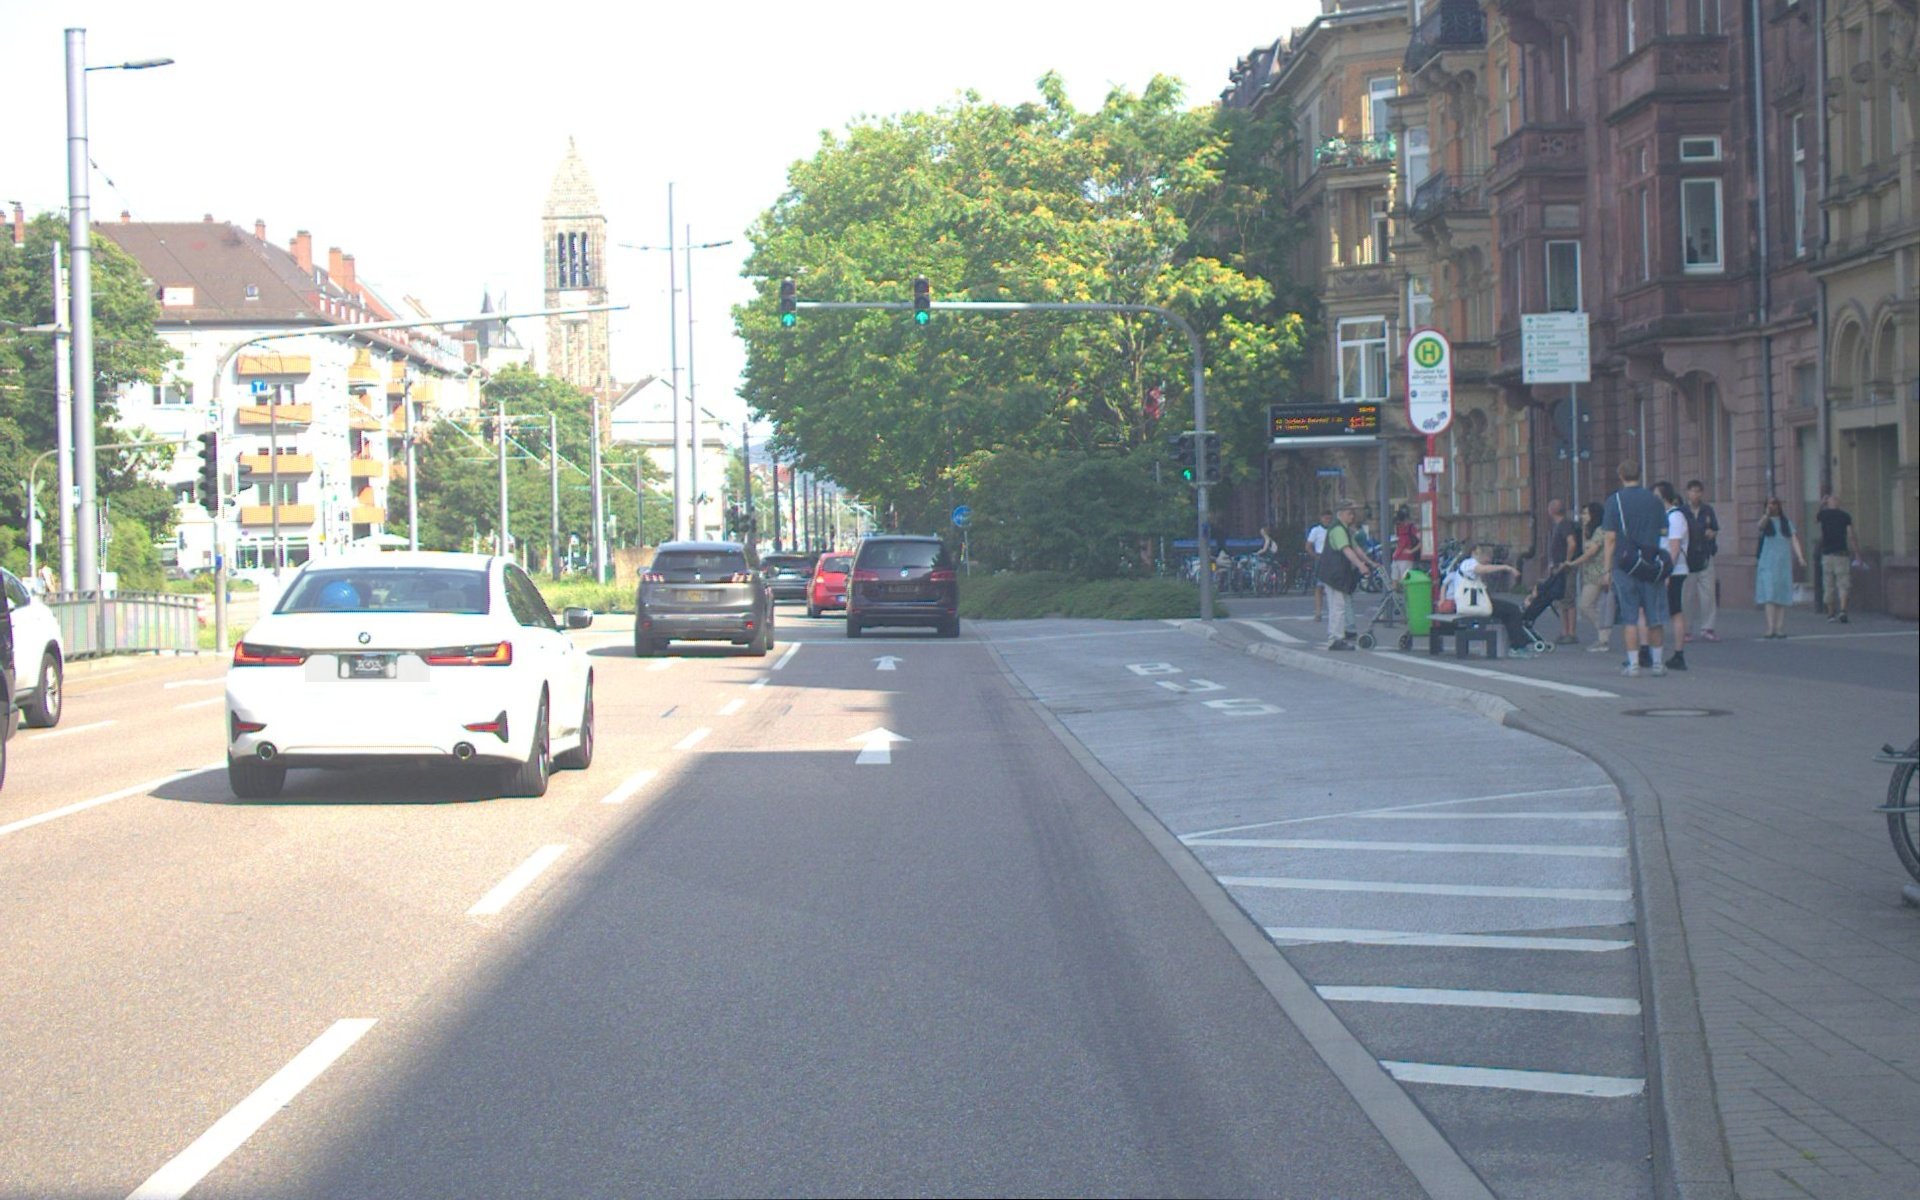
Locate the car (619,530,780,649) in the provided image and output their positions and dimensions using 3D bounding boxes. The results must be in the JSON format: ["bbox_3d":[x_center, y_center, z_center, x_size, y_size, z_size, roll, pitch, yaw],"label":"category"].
[{"bbox_3d":[-3.673,-0.189,49.162,1.993,1.615,4.357,0,1,0],"label":"car"}]

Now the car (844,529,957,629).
[{"bbox_3d":[-0.972,-0.385,57.556,1.831,1.615,4.357,0,1,0],"label":"car"}]

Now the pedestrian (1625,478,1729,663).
[{"bbox_3d":[6.807,-0.285,32.661,0.749,1.723,0.801,-1,1,-4],"label":"pedestrian"}]

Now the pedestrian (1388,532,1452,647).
[{"bbox_3d":[5.173,-0.122,38.677,0.565,1.273,0.597,-1,1,-4],"label":"pedestrian"}]

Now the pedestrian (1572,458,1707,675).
[{"bbox_3d":[5.862,-0.292,29.696,0.925,1.825,0.801,-1,1,-4],"label":"pedestrian"}]

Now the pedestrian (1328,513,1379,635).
[{"bbox_3d":[5.278,-0.353,46.146,0.528,1.606,0.703,-1,1,-4],"label":"pedestrian"}]

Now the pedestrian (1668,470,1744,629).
[{"bbox_3d":[8.592,-0.585,39.619,0.617,1.798,1.071,-1,1,0],"label":"pedestrian"}]

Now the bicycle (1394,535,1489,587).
[{"bbox_3d":[10.333,-0.839,73.798,1.927,1.044,0.500,-2,1,-6],"label":"bicycle"}]

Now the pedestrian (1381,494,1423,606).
[{"bbox_3d":[6.776,-0.772,52.722,0.481,1.696,0.703,-1,1,-4],"label":"pedestrian"}]

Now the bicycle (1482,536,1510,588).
[{"bbox_3d":[11.116,-0.797,71.343,0.416,1.044,1.670,-1,1,5],"label":"bicycle"}]

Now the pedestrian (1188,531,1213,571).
[{"bbox_3d":[6.596,-1.347,94.267,0.443,1.067,0.487,-2,1,-31],"label":"pedestrian"}]

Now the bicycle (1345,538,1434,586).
[{"bbox_3d":[9.792,-0.869,78.438,1.927,1.044,0.527,-2,1,-6],"label":"bicycle"}]

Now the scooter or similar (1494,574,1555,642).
[{"bbox_3d":[6.326,0.085,38.527,0.565,0.739,0.514,-1,1,-4],"label":"scooter or similar"}]

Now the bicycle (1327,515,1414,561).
[{"bbox_3d":[9.672,-1.460,80.985,1.927,1.044,0.527,-2,1,-6],"label":"bicycle"}]

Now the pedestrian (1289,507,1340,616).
[{"bbox_3d":[5.487,-0.605,53.192,0.690,1.658,0.619,-1,1,0],"label":"pedestrian"}]

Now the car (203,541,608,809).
[{"bbox_3d":[-3.309,0.374,21.397,1.809,1.422,4.775,1,1,-1],"label":"car"}]

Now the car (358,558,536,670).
[{"bbox_3d":[-6.817,0.151,46.098,1.713,1.326,4.521,-3,1,-1],"label":"car"}]

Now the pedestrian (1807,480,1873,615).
[{"bbox_3d":[11.328,-0.674,44.265,0.629,1.713,0.691,-1,1,-1],"label":"pedestrian"}]

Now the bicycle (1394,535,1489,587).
[{"bbox_3d":[10.227,-0.828,73.038,1.927,1.044,0.500,-2,1,-6],"label":"bicycle"}]

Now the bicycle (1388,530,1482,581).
[{"bbox_3d":[10.277,-0.961,74.366,1.927,1.044,0.500,-2,1,-6],"label":"bicycle"}]

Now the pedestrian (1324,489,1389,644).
[{"bbox_3d":[4.467,-0.380,38.745,0.565,1.723,0.745,-1,1,-4],"label":"pedestrian"}]

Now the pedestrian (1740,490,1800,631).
[{"bbox_3d":[9.396,-0.463,39.898,0.486,1.605,0.813,-1,1,0],"label":"pedestrian"}]

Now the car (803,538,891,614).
[{"bbox_3d":[-2.494,-0.555,76.735,1.831,1.615,4.357,0,1,0],"label":"car"}]

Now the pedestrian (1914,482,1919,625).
[{"bbox_3d":[11.436,-0.543,39.719,0.603,1.649,0.587,-1,1,-4],"label":"pedestrian"}]

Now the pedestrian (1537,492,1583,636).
[{"bbox_3d":[7.287,-0.446,41.751,0.341,1.726,0.806,-1,1,-4],"label":"pedestrian"}]

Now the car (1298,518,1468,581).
[{"bbox_3d":[11.329,-1.356,92.336,4.179,1.558,2.000,-1,1,-5],"label":"car"}]

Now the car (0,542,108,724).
[{"bbox_3d":[-9.374,0.298,32.106,1.713,1.606,4.505,-3,1,-1],"label":"car"}]

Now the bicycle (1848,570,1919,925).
[{"bbox_3d":[3.823,0.458,11.422,1.632,1.144,0.385,-2,1,-5],"label":"bicycle"}]

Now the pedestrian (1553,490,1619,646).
[{"bbox_3d":[7.021,-0.361,38.569,0.565,1.723,0.617,-1,1,-4],"label":"pedestrian"}]

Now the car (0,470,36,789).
[{"bbox_3d":[-6.705,0.245,18.849,1.993,1.898,4.716,-3,1,-1],"label":"car"}]

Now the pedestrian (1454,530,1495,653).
[{"bbox_3d":[5.344,-0.093,35.714,0.275,1.270,0.448,-1,1,-7],"label":"pedestrian"}]

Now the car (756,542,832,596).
[{"bbox_3d":[-4.484,-0.857,93.329,1.864,1.419,4.357,0,1,0],"label":"car"}]

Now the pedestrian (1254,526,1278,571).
[{"bbox_3d":[8.541,-1.438,95.894,0.597,1.244,0.507,-1,1,-1],"label":"pedestrian"}]

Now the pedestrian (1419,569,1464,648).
[{"bbox_3d":[5.152,0.088,36.772,0.303,0.817,0.604,-1,1,-8],"label":"pedestrian"}]
